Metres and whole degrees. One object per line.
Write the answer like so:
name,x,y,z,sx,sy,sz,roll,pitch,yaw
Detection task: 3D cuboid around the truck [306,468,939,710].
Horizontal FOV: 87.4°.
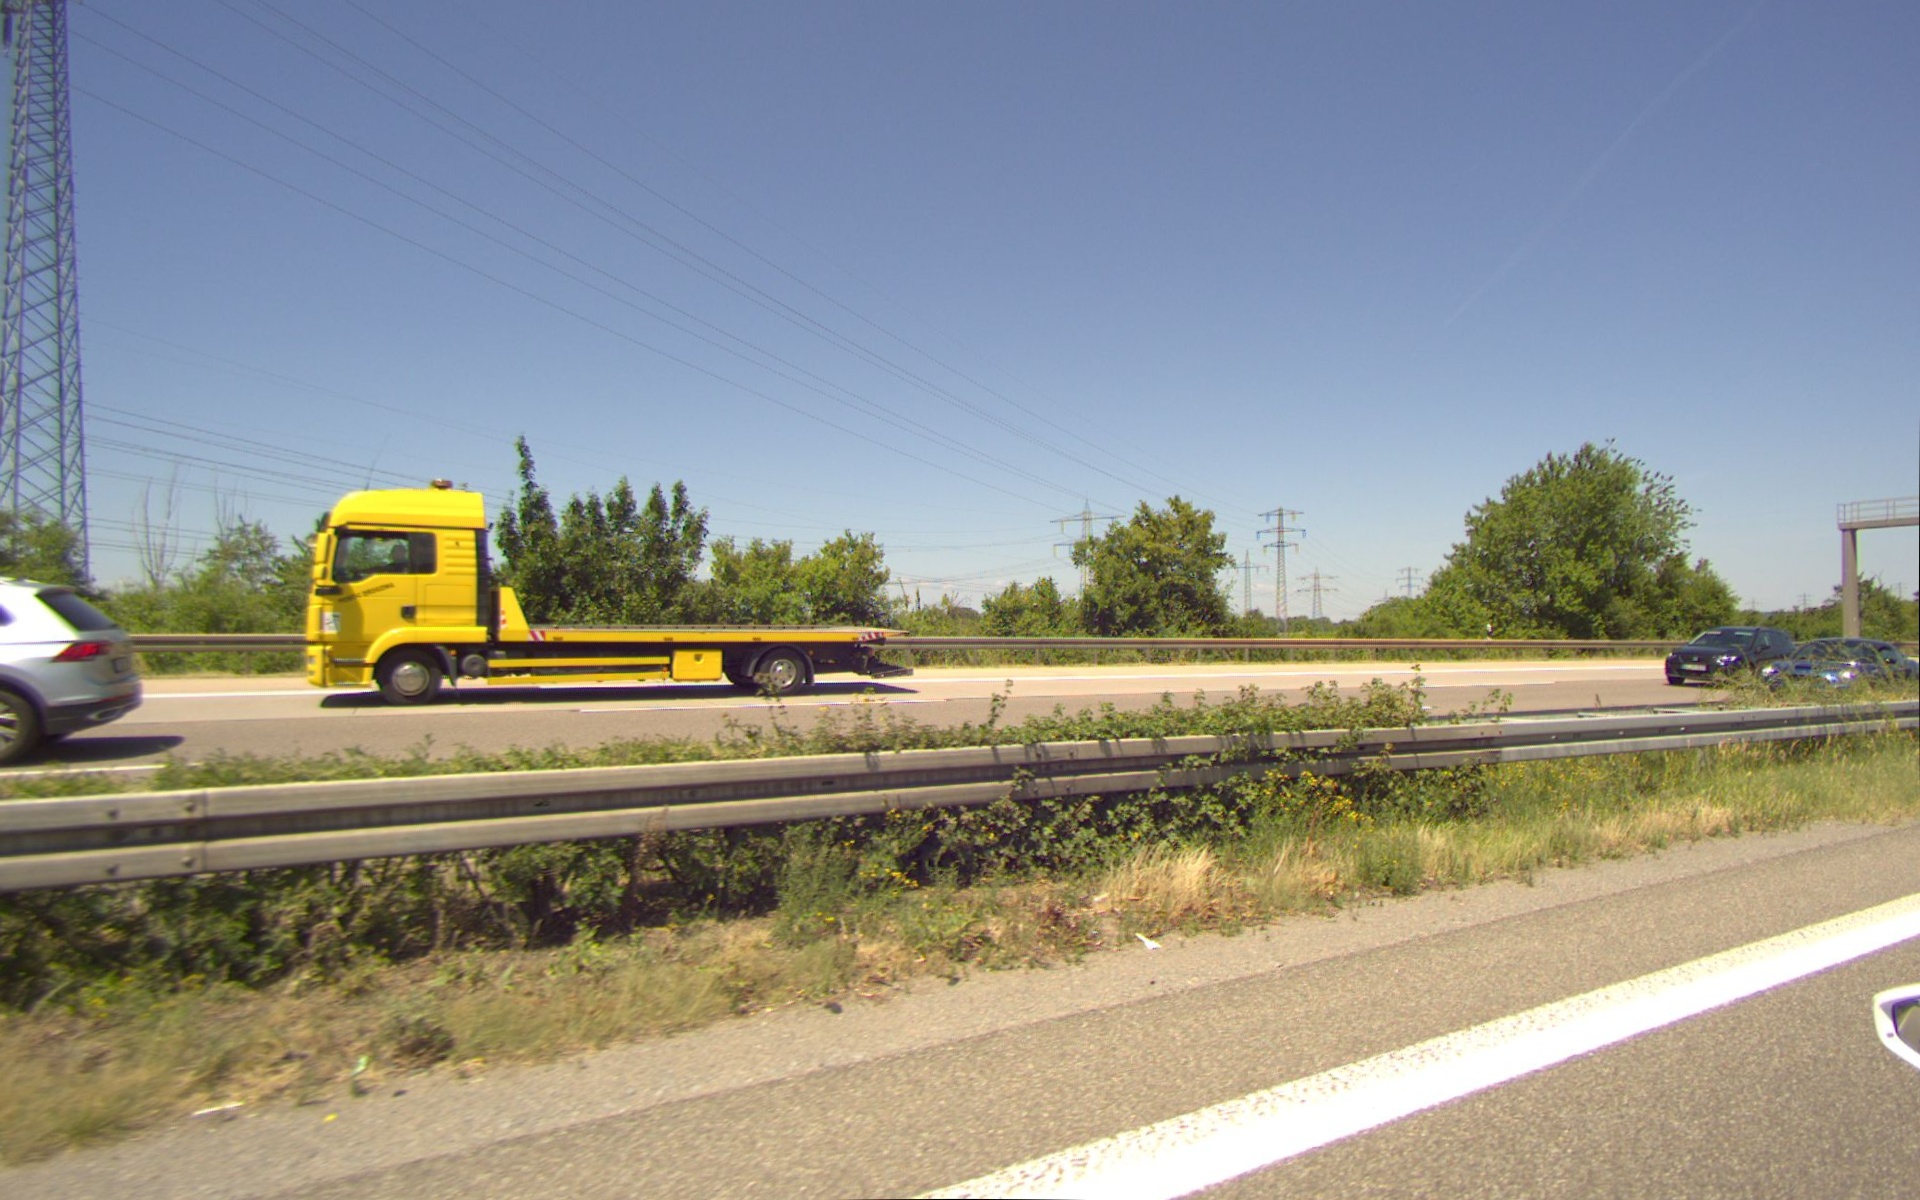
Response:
truck,-5.122,-0.041,16.792,9.557,3.194,2.508,1,-1,-31

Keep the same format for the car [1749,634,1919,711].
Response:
car,17.746,1.408,20.234,3.784,1.372,1.624,1,0,-30

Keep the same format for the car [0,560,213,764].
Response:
car,-9.786,0.510,8.958,4.758,1.759,1.984,1,-1,-30

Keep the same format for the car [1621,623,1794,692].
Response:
car,18.614,1.389,25.000,4.185,1.530,1.969,1,0,-30

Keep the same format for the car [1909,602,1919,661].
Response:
car,44.242,1.416,44.038,6.258,2.510,2.121,1,0,-30
